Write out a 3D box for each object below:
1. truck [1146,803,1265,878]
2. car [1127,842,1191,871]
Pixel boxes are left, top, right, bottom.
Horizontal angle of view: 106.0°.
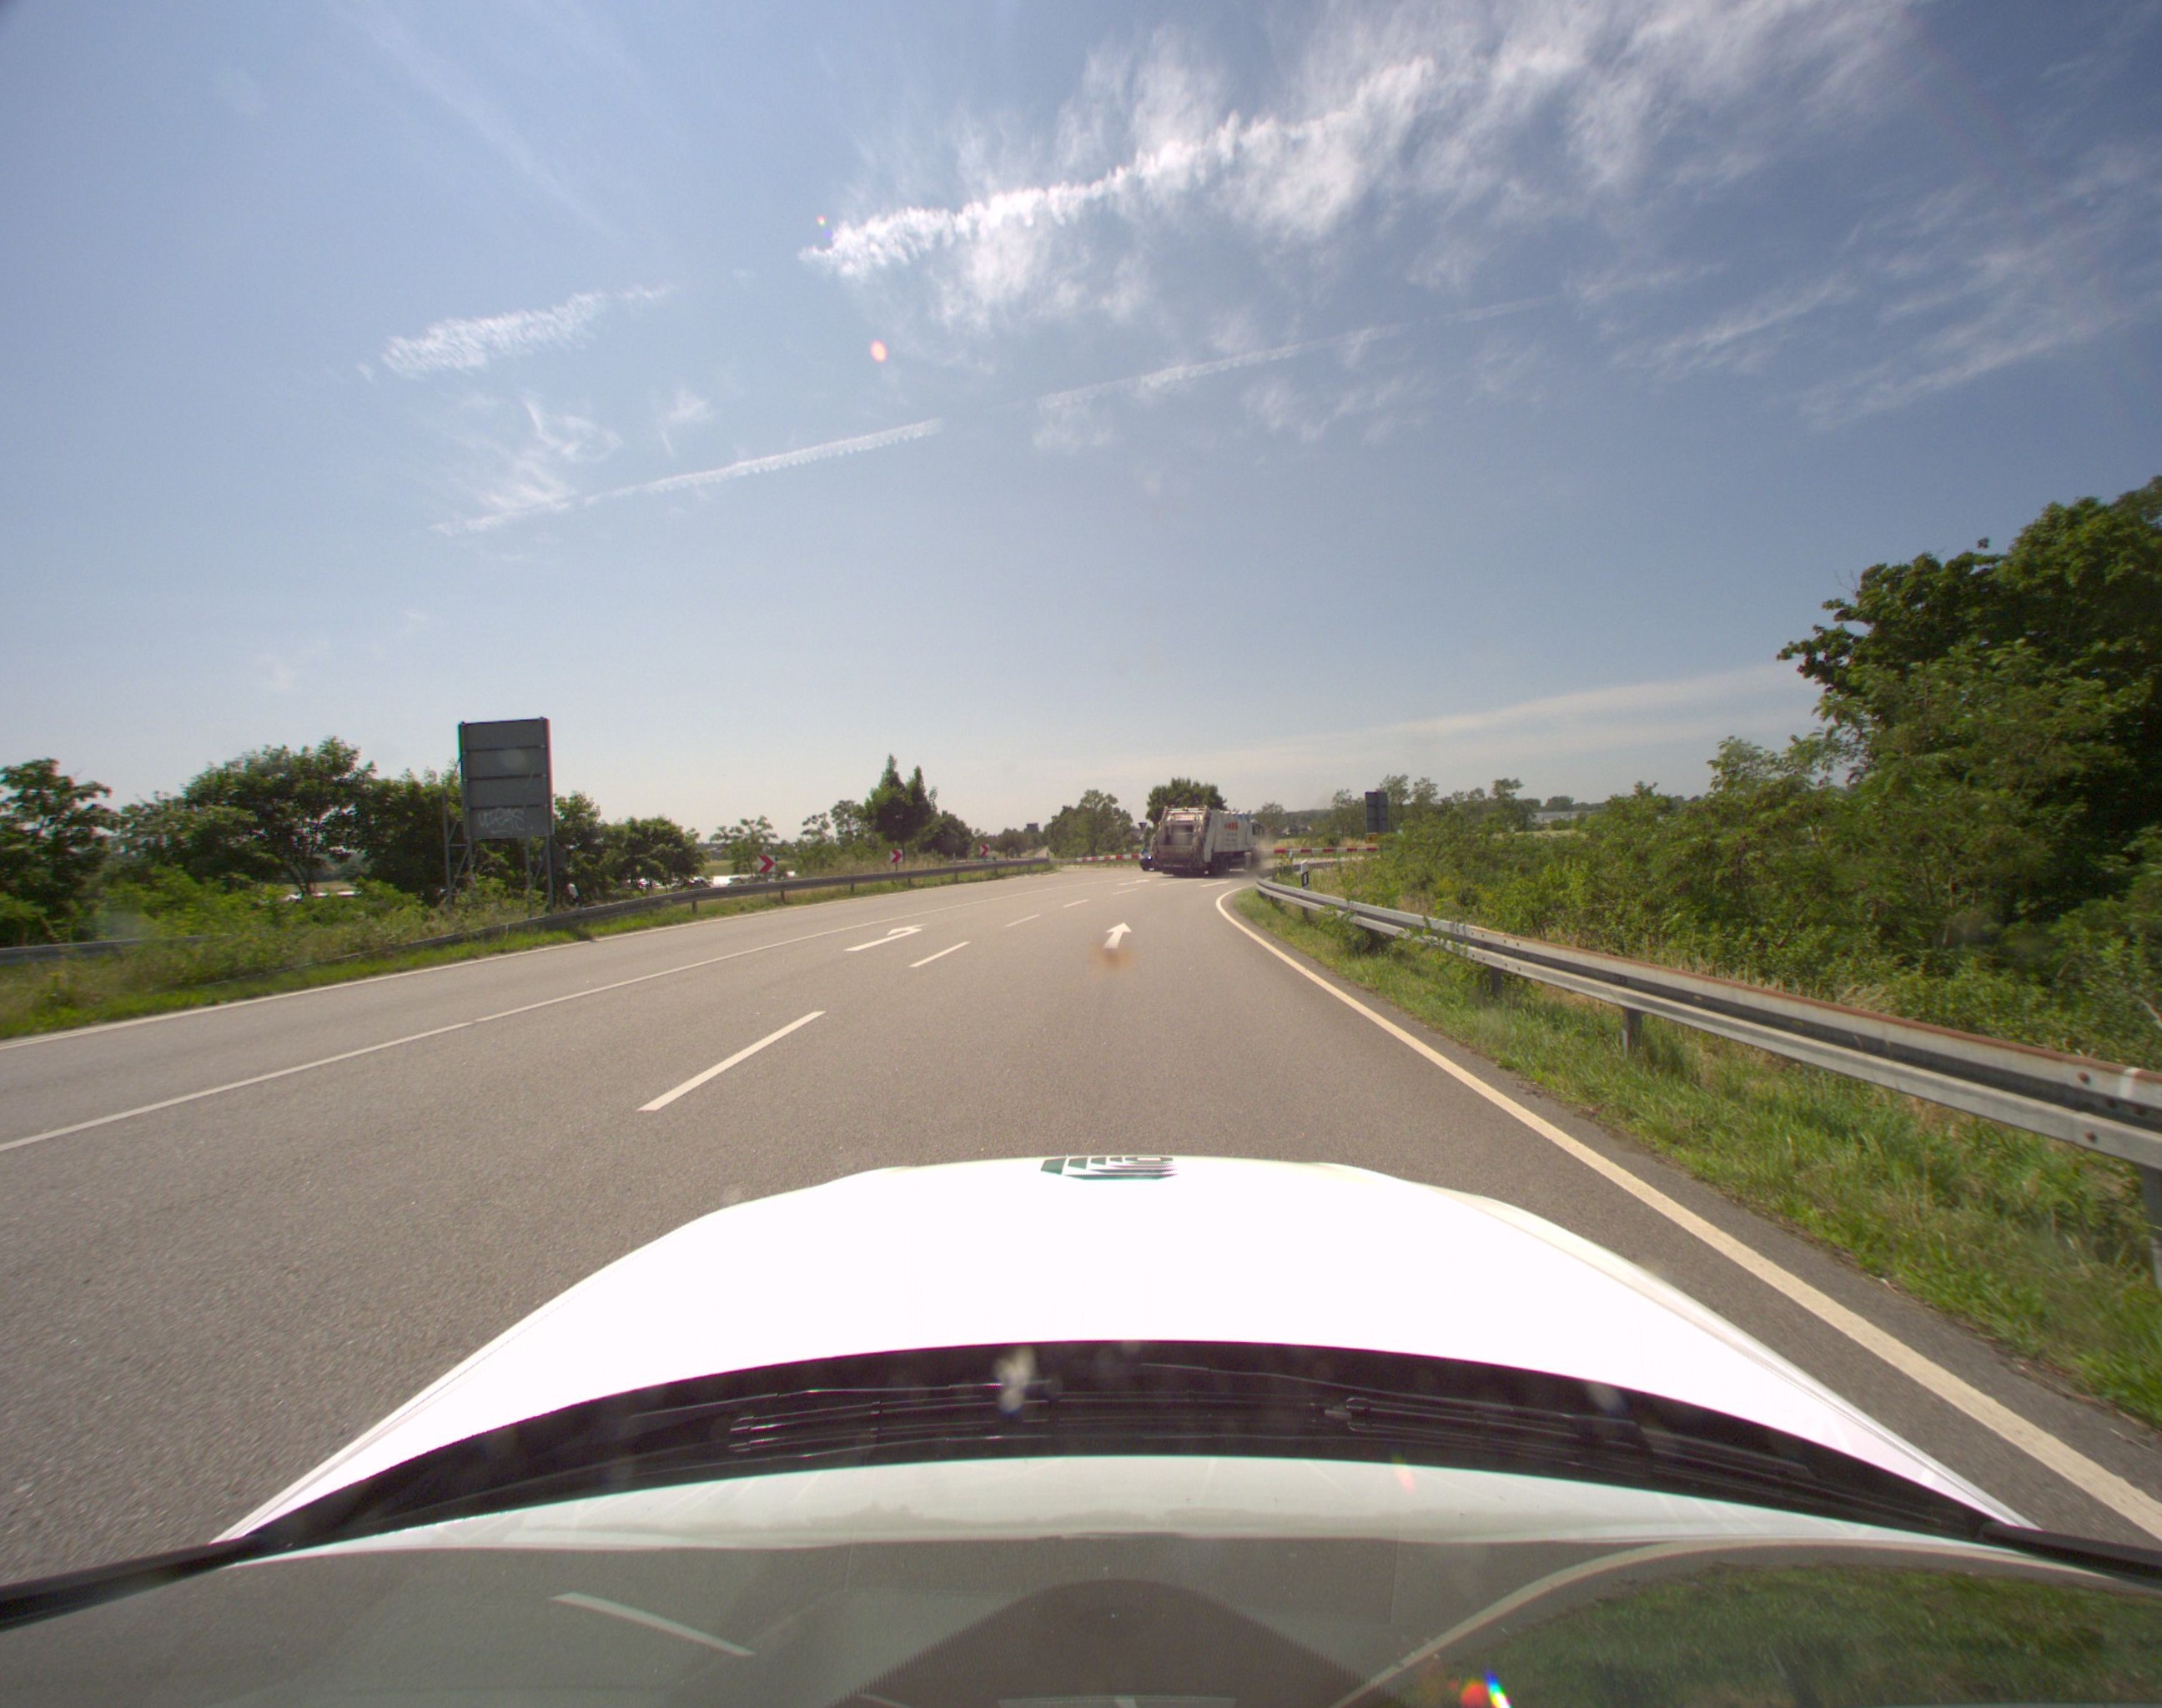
[{"bbox_3d":[7.122,-0.697,44.827,2.786,3.669,10.011,-1,0,32],"label":"truck"},{"bbox_3d":[4.818,0.104,49.746,1.695,1.657,4.597,1,1,39],"label":"car"}]
